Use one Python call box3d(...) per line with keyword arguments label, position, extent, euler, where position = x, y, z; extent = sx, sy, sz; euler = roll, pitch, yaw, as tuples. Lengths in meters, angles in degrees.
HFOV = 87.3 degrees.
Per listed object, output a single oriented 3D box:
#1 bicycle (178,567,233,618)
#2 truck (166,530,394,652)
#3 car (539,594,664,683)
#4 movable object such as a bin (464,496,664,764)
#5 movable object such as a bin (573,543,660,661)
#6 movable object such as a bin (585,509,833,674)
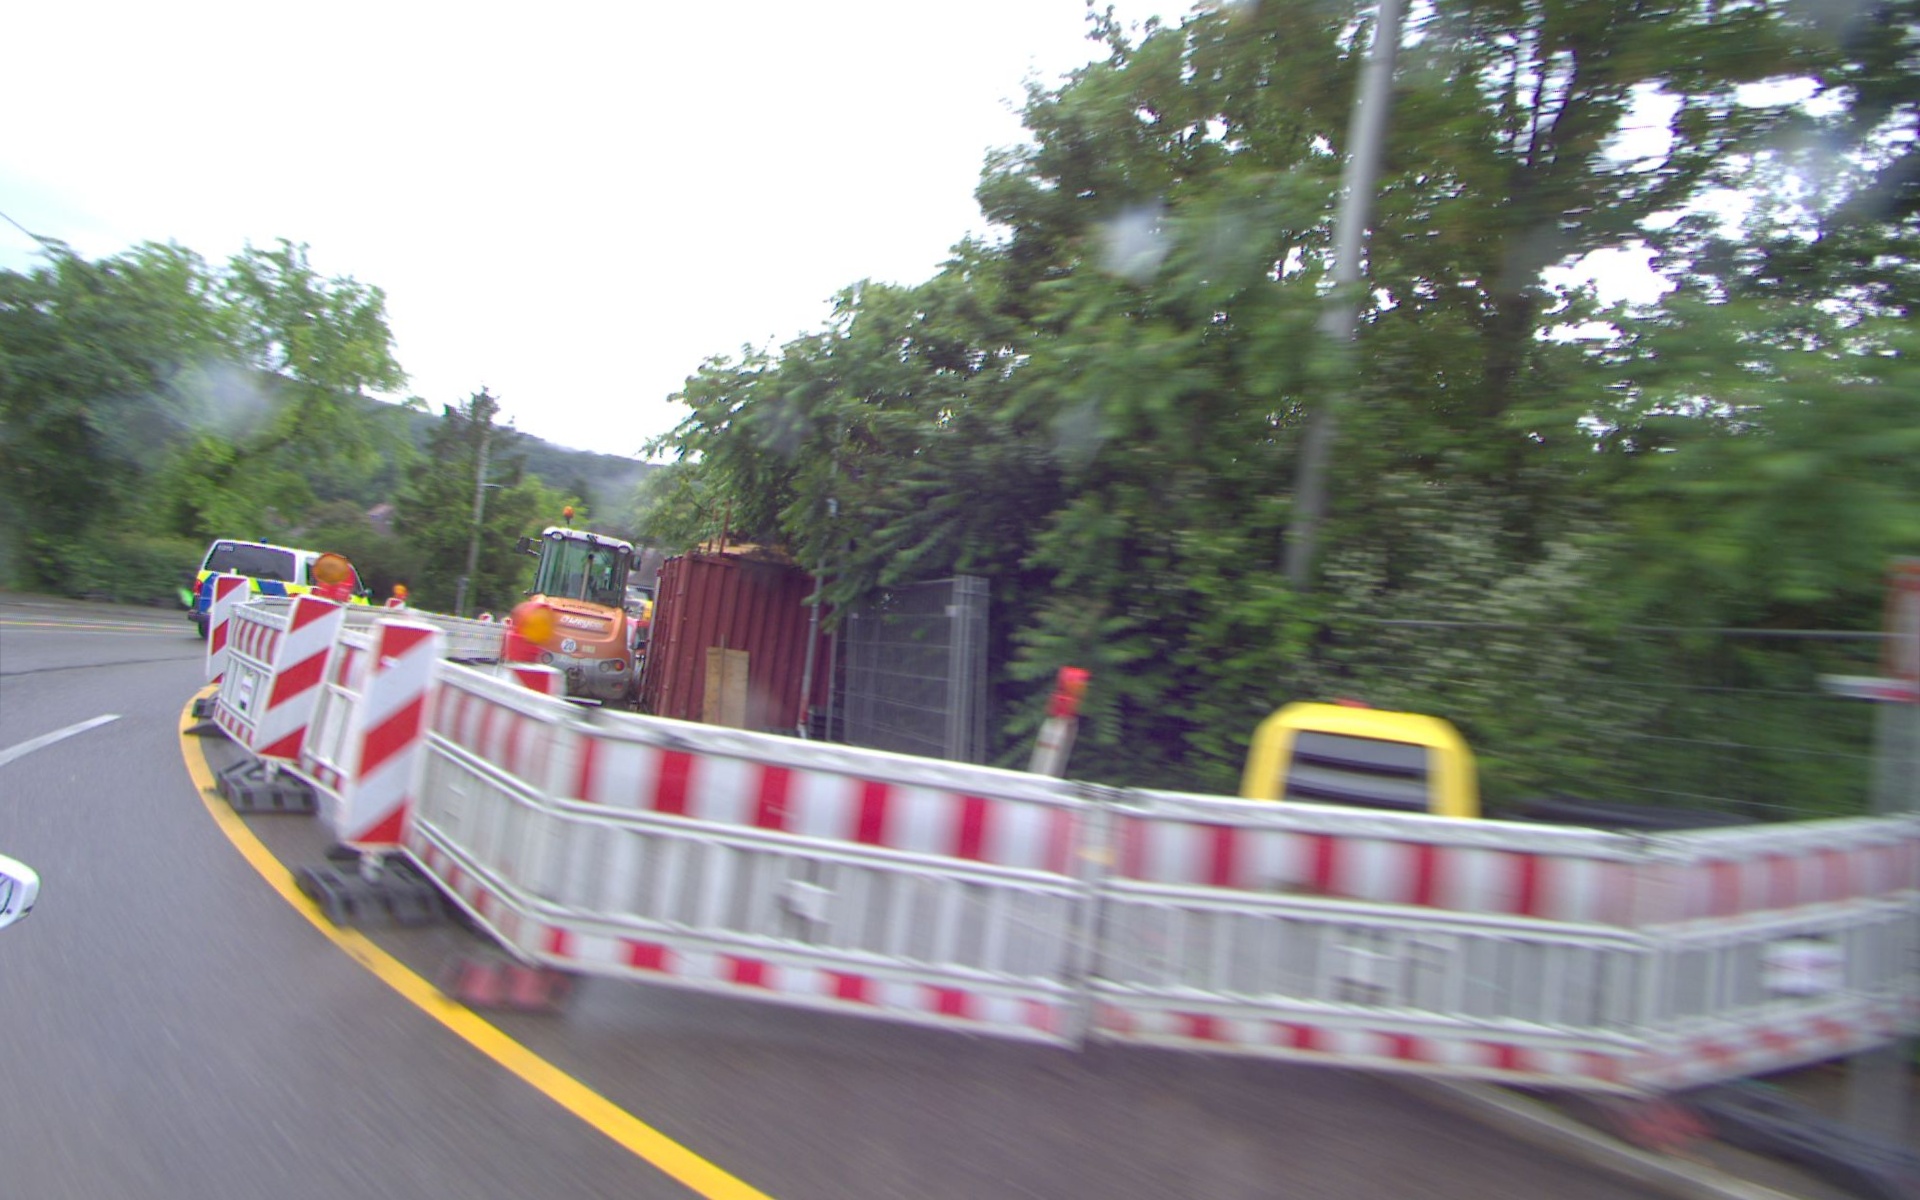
box3d(label="bicycle", position=(-22.997, -0.210, 30.692), extent=(0.415, 1.363, 1.742), euler=(8, -4, -10))
box3d(label="truck", position=(-13.870, -0.236, 20.925), extent=(1.966, 2.039, 4.724), euler=(7, 1, -9))
box3d(label="car", position=(-9.000, 0.995, 25.715), extent=(1.967, 1.798, 4.995), euler=(8, -3, -9))
box3d(label="movable object such as a bin", position=(-5.952, 0.238, 15.746), extent=(2.053, 3.268, 5.257), euler=(9, 2, -18))
box3d(label="movable object such as a bin", position=(-11.179, 0.170, 32.997), extent=(1.969, 3.337, 3.833), euler=(8, -5, -13))
box3d(label="movable object such as a bin", position=(-9.462, -0.257, 36.736), extent=(10.688, 4.967, 3.055), euler=(1, -7, 44))
